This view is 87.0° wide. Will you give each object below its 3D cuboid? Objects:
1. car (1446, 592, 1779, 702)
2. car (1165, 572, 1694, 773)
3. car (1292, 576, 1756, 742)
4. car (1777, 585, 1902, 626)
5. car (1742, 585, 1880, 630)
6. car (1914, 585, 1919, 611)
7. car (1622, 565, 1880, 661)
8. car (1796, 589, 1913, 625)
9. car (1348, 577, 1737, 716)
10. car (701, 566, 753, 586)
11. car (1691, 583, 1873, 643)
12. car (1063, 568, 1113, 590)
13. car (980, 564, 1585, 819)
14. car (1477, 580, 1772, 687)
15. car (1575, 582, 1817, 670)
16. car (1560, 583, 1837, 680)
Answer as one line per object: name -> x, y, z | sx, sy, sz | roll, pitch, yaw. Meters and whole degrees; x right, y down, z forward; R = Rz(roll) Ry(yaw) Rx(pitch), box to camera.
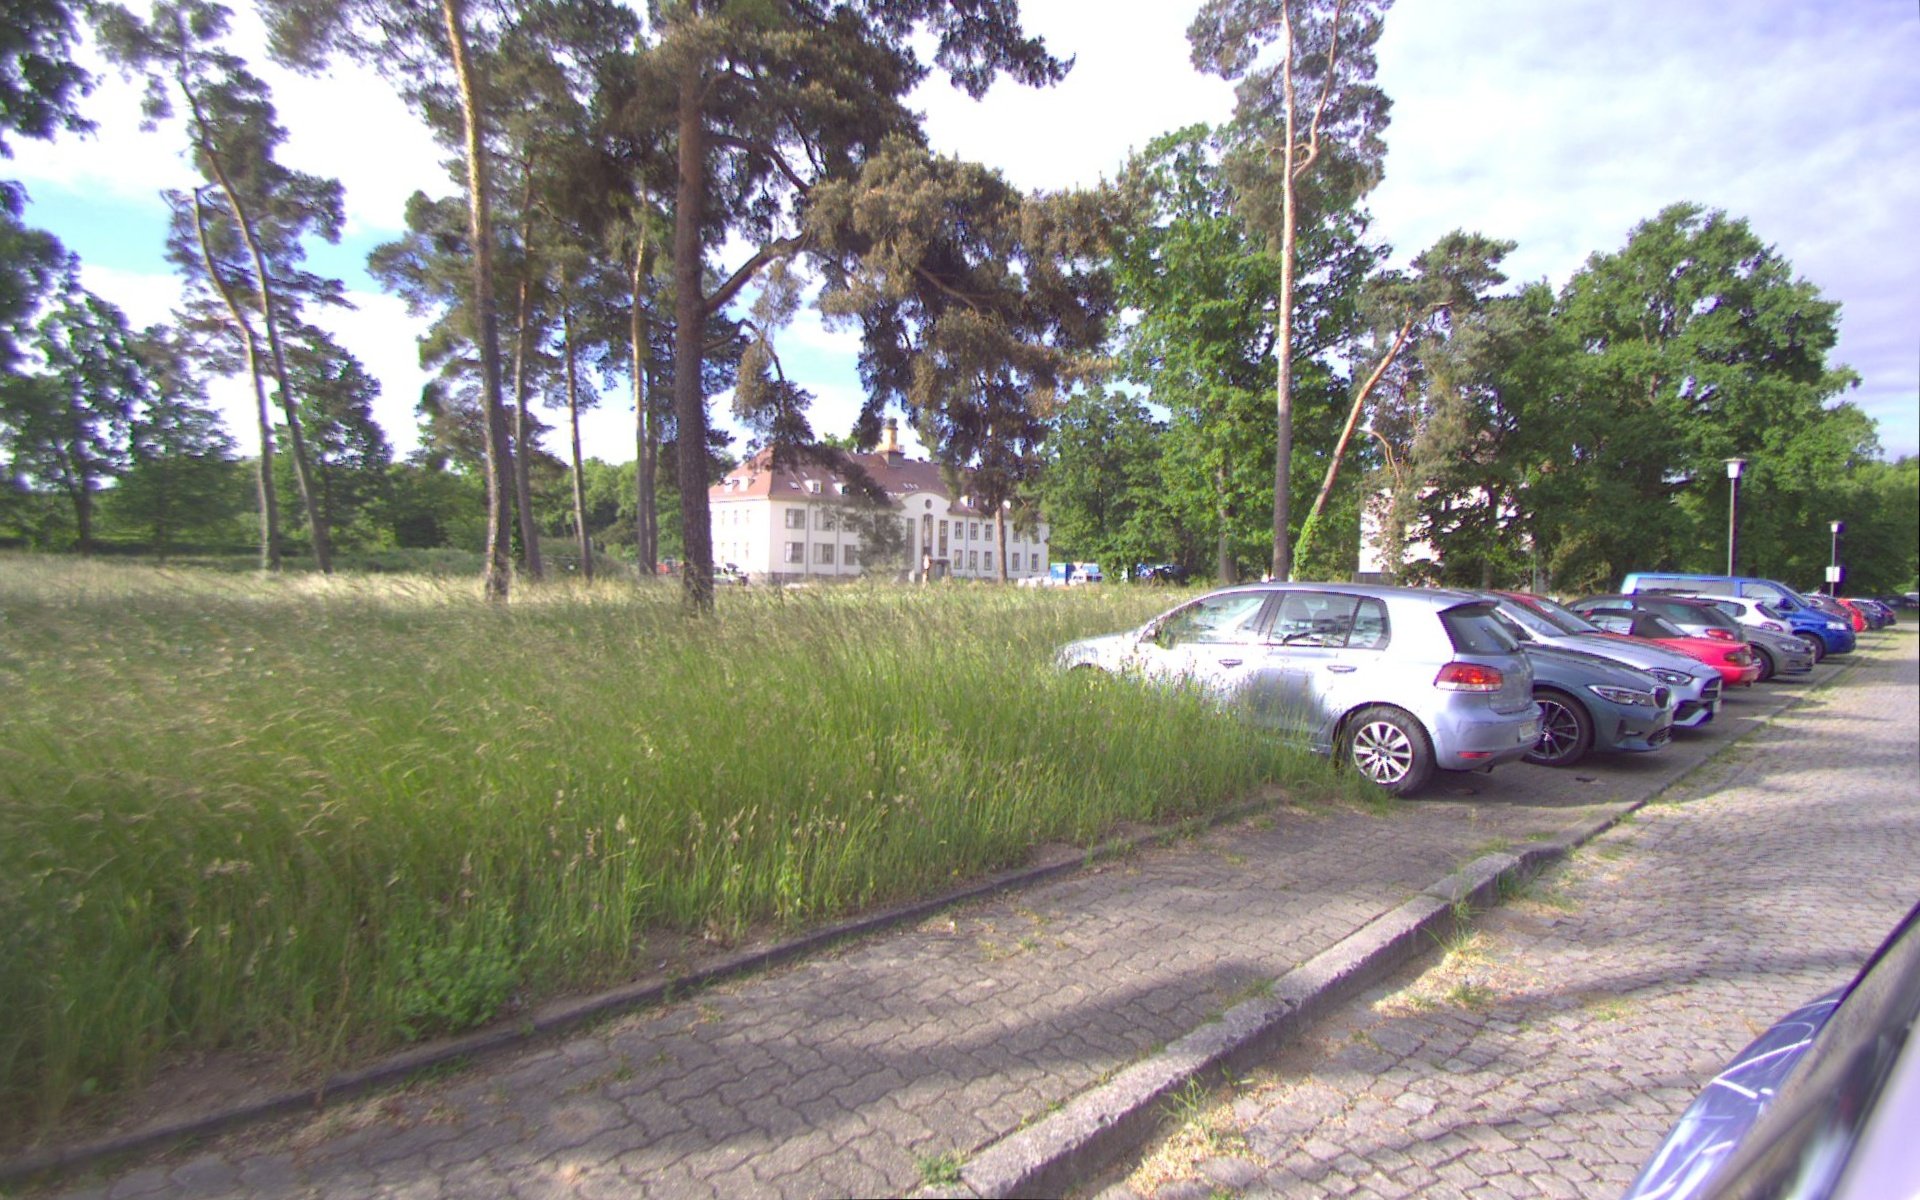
car -> 9.755, 0.609, 15.347 | 1.698, 1.276, 3.955 | -1, 3, -44
car -> 4.536, 0.518, 10.234 | 4.504, 1.491, 1.867 | 3, 3, 42
car -> 6.523, 0.522, 12.112 | 1.820, 1.491, 4.510 | -1, 3, -45
car -> 39.574, 0.201, 45.619 | 1.719, 1.588, 4.128 | -1, 3, -45
car -> 32.342, 0.242, 38.543 | 3.879, 1.490, 1.660 | 4, 4, 44
car -> 79.348, -0.086, 80.424 | 1.968, 2.066, 5.069 | 0, 1, -45
car -> 19.346, 0.210, 24.916 | 4.737, 1.952, 1.960 | 5, 4, 45
car -> 43.014, 0.296, 48.710 | 1.753, 1.468, 4.032 | -1, 3, -42
car -> 7.848, 0.499, 13.952 | 1.712, 1.491, 4.344 | -1, 3, -45
car -> -25.011, -2.621, 108.628 | 5.637, 2.038, 2.597 | 2, 2, 39
car -> 25.323, 0.338, 31.281 | 4.193, 1.608, 1.848 | 3, 3, 44
car -> 13.942, -2.244, 109.938 | 5.860, 2.328, 2.165 | 0, 2, -43
car -> 2.486, 0.502, 8.638 | 4.545, 1.523, 1.903 | 3, 3, 44
car -> 11.335, 0.472, 17.446 | 1.743, 1.513, 3.955 | -1, 3, -44
car -> 15.446, 0.463, 21.374 | 1.778, 1.549, 3.878 | -1, 3, -44
car -> 13.791, 0.495, 19.044 | 1.801, 1.485, 3.955 | -1, 3, -44
